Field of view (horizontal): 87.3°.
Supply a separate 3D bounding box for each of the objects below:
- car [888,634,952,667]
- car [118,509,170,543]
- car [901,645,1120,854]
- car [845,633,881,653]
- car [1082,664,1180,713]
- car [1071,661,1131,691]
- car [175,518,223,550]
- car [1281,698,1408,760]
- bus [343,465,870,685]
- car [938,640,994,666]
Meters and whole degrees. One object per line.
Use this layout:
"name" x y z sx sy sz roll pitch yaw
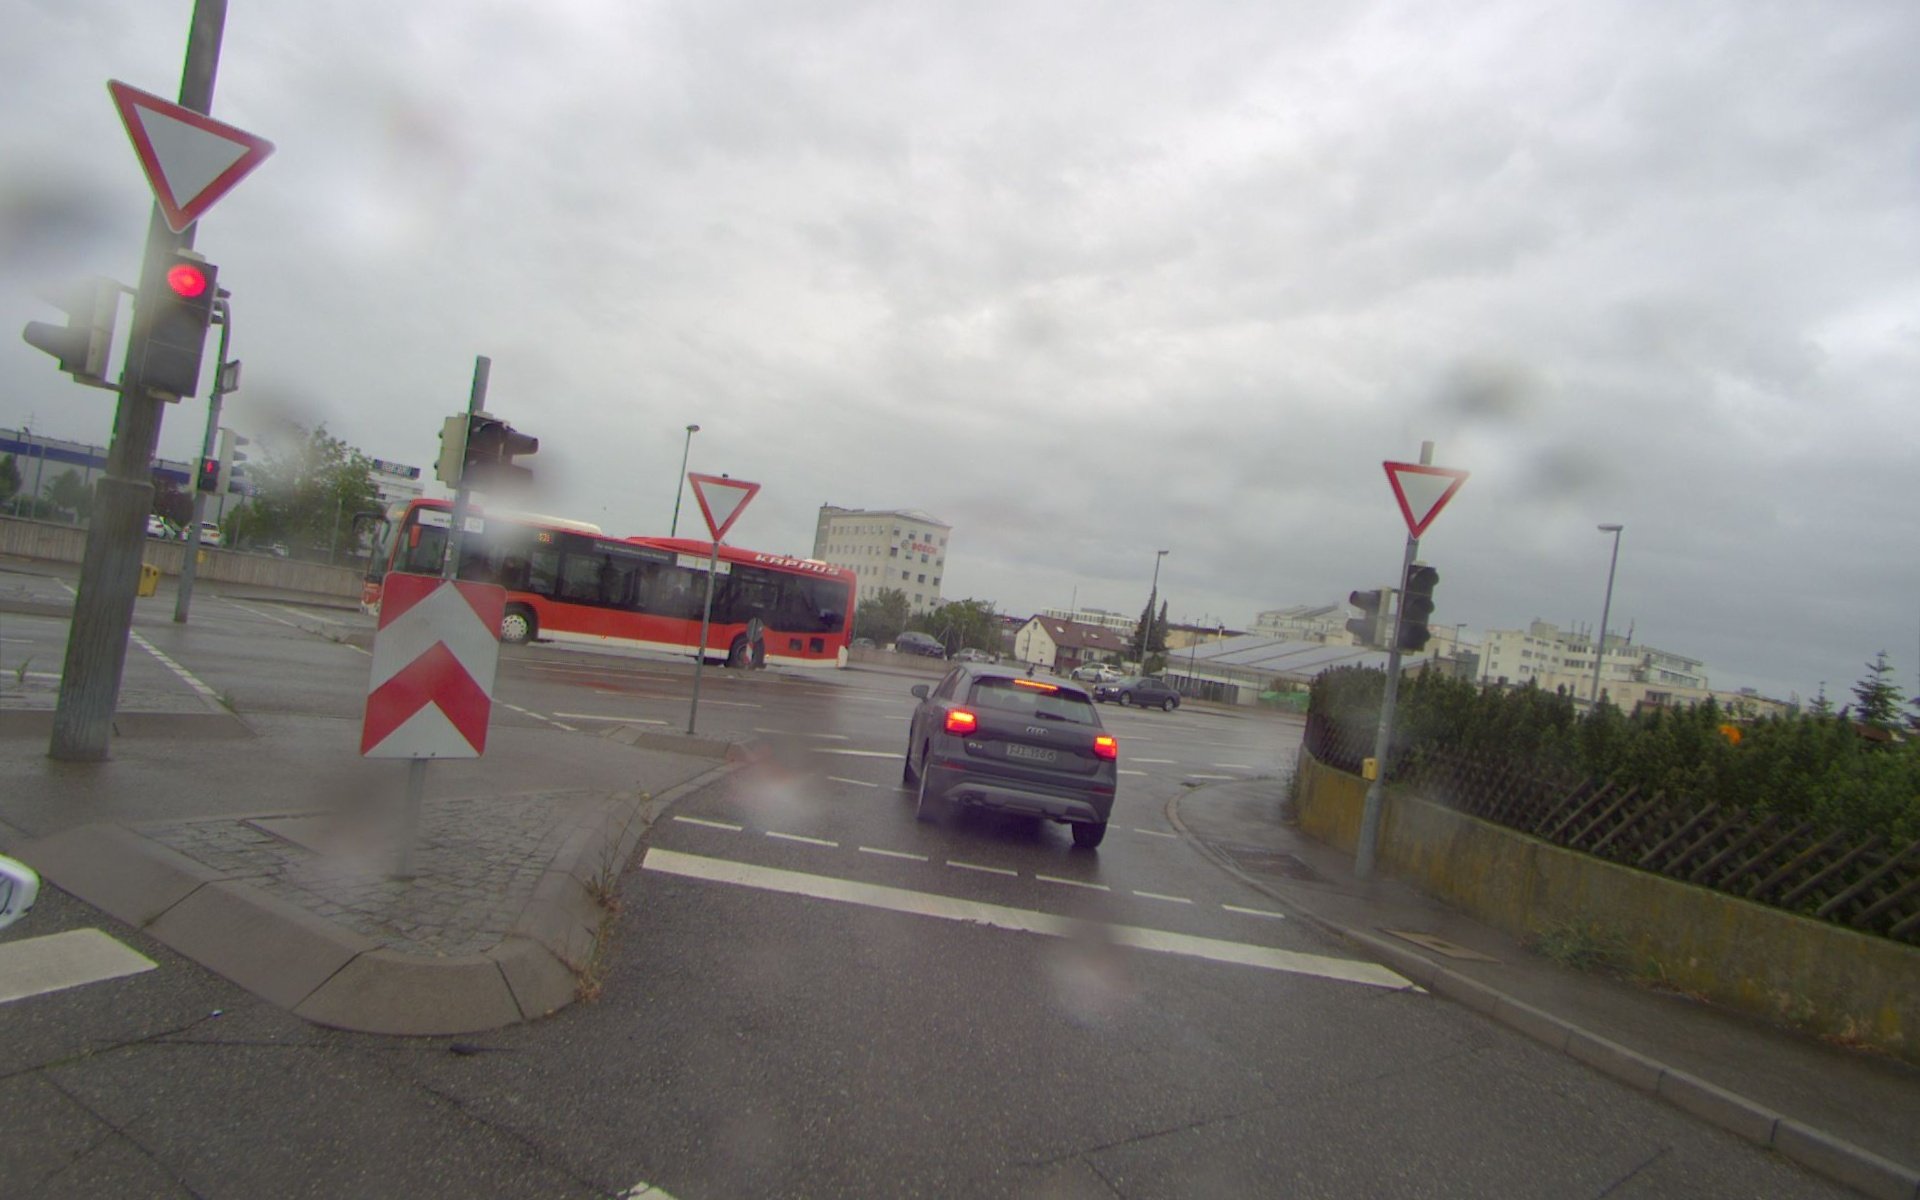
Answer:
"car" -2.509 3.082 61.960 1.983 1.495 3.964 9 -2 -34
"car" -45.652 -4.134 56.359 1.985 1.495 3.959 10 -2 -38
"car" 0.326 1.372 10.493 1.659 1.511 3.942 10 -3 -3
"car" -9.727 4.247 100.494 1.979 1.494 3.971 9 -2 -29
"car" 7.883 4.077 46.313 3.963 1.584 1.984 11 -3 -31
"car" 9.769 5.248 69.934 1.979 1.494 3.971 9 -2 -29
"car" -43.933 -3.809 58.027 1.986 1.495 3.958 10 -2 -38
"car" 12.671 4.264 32.986 4.649 1.493 1.976 11 -3 -43
"bus" -8.338 -0.276 25.831 12.243 3.357 3.040 12 -3 -41
"car" 0.506 4.363 82.230 3.951 1.494 1.989 9 -2 -24
